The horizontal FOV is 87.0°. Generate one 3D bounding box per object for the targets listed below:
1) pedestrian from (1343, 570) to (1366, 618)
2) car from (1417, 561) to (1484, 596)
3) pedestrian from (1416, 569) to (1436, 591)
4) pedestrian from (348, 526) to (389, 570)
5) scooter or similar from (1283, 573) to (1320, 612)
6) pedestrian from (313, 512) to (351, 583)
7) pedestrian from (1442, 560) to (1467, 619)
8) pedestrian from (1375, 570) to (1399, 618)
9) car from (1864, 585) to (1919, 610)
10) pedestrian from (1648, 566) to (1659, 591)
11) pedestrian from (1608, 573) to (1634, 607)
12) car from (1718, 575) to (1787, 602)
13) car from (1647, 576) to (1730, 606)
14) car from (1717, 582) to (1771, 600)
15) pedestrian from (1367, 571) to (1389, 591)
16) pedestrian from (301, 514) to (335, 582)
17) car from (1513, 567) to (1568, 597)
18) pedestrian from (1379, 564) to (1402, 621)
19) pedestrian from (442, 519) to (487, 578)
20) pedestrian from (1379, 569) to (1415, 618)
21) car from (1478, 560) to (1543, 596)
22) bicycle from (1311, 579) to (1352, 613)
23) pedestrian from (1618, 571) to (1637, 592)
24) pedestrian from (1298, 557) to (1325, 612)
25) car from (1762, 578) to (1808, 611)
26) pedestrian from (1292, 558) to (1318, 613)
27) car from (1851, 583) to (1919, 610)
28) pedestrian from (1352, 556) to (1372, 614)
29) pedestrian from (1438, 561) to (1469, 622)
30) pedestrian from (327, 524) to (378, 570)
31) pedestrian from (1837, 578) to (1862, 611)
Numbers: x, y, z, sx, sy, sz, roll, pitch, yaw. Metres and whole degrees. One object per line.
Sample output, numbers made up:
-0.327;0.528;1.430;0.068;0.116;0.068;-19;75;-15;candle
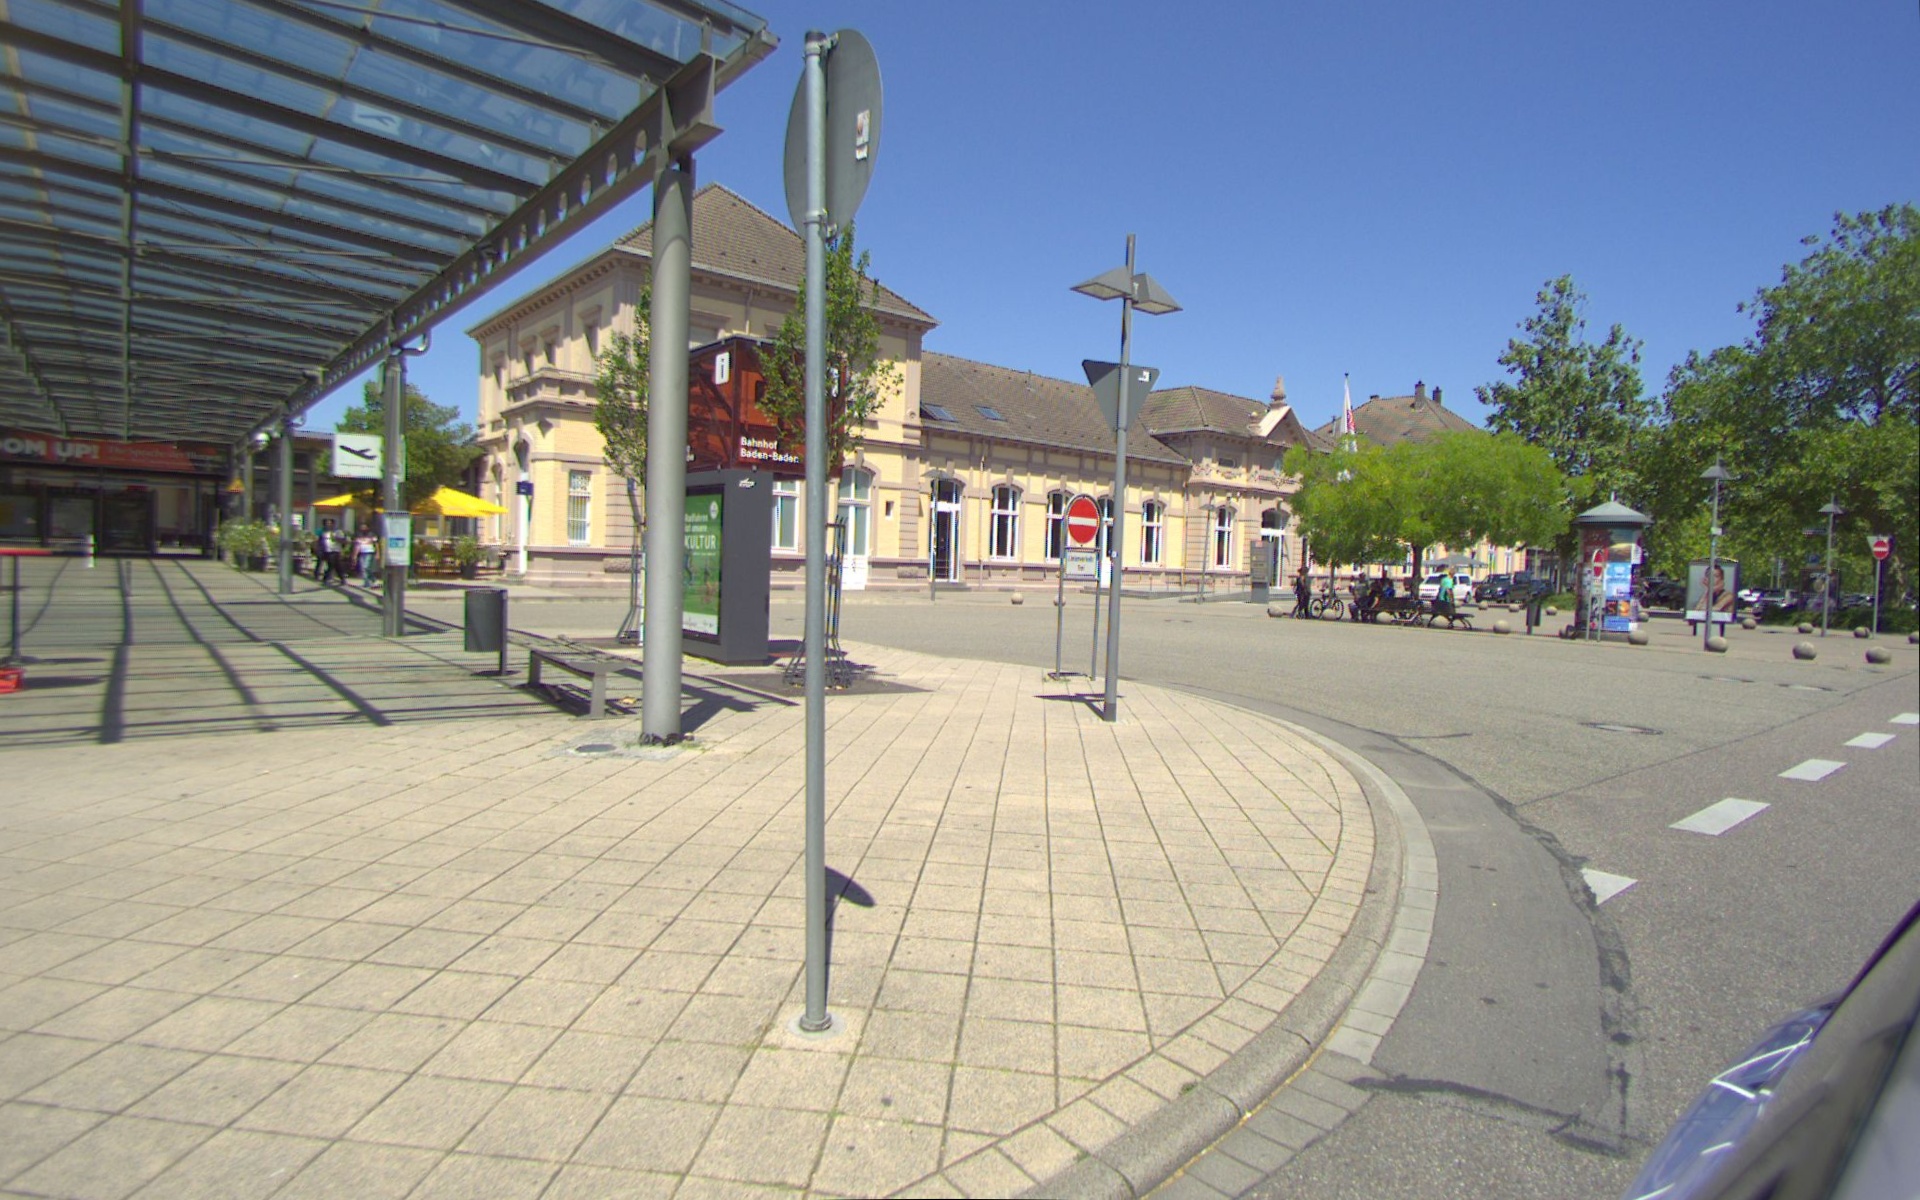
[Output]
11.757;-0.188;30.176;0.592;1.381;0.595;3;2;22;pedestrian
28.912;-1.266;59.545;5.051;1.889;1.812;1;1;-43;car
31.569;-1.362;68.538;0.838;1.387;0.880;0;4;-44;pedestrian
-19.236;-1.708;32.923;1.033;1.369;0.977;-2;6;-38;pedestrian
10.470;-0.227;31.066;1.025;1.153;0.290;4;3;43;scooter or similar
-16.652;-1.391;26.839;0.588;1.831;0.628;2;2;18;pedestrian
15.220;-0.329;31.164;0.621;1.761;0.543;2;2;25;pedestrian
12.558;-0.183;29.764;0.592;1.381;0.595;3;2;22;pedestrian
60.482;-0.126;64.506;3.832;1.478;1.625;3;2;22;car
57.477;-1.765;83.899;0.627;2.015;0.607;1;1;45;pedestrian
34.809;-0.554;53.275;0.760;1.738;0.814;2;2;3;pedestrian
55.172;-0.842;70.551;1.769;1.624;4.061;1;4;5;car
42.906;-0.565;59.762;1.768;1.561;4.529;1;4;3;car
65.924;-0.776;85.159;1.770;1.420;3.514;2;2;0;car
25.531;-1.153;61.822;0.838;1.175;0.880;0;4;-44;pedestrian
-17.744;-1.423;27.972;0.618;1.831;0.692;1;2;-18;pedestrian
39.423;-1.222;68.723;2.075;1.863;4.762;3;1;44;car
13.489;-0.238;31.714;0.579;1.761;0.595;2;2;25;pedestrian
-16.214;-1.682;33.106;1.064;1.869;1.081;0;2;-42;pedestrian
13.263;-0.213;30.747;0.902;1.403;0.938;2;2;20;pedestrian
34.859;-1.360;64.036;2.088;2.150;5.732;3;1;44;car
12.385;-0.148;33.693;1.915;1.073;0.421;-1;3;-42;bicycle
46.018;-1.290;69.776;0.785;1.442;0.692;2;2;-5;pedestrian
11.298;-0.501;32.496;0.616;1.706;0.583;3;2;38;pedestrian
43.196;-0.296;52.965;1.597;1.613;3.057;4;3;44;car
10.908;-0.473;31.975;0.552;1.706;0.579;3;2;38;pedestrian
53.567;-0.166;56.990;4.741;1.434;1.767;3;3;31;car
12.566;-0.473;31.613;0.506;1.761;0.567;2;2;21;pedestrian
14.763;-0.257;30.280;0.689;1.785;0.578;3;2;36;pedestrian
-18.891;-1.657;31.486;1.043;1.369;0.968;5;6;29;pedestrian
50.689;-0.318;57.677;0.832;1.792;0.843;3;2;30;pedestrian
